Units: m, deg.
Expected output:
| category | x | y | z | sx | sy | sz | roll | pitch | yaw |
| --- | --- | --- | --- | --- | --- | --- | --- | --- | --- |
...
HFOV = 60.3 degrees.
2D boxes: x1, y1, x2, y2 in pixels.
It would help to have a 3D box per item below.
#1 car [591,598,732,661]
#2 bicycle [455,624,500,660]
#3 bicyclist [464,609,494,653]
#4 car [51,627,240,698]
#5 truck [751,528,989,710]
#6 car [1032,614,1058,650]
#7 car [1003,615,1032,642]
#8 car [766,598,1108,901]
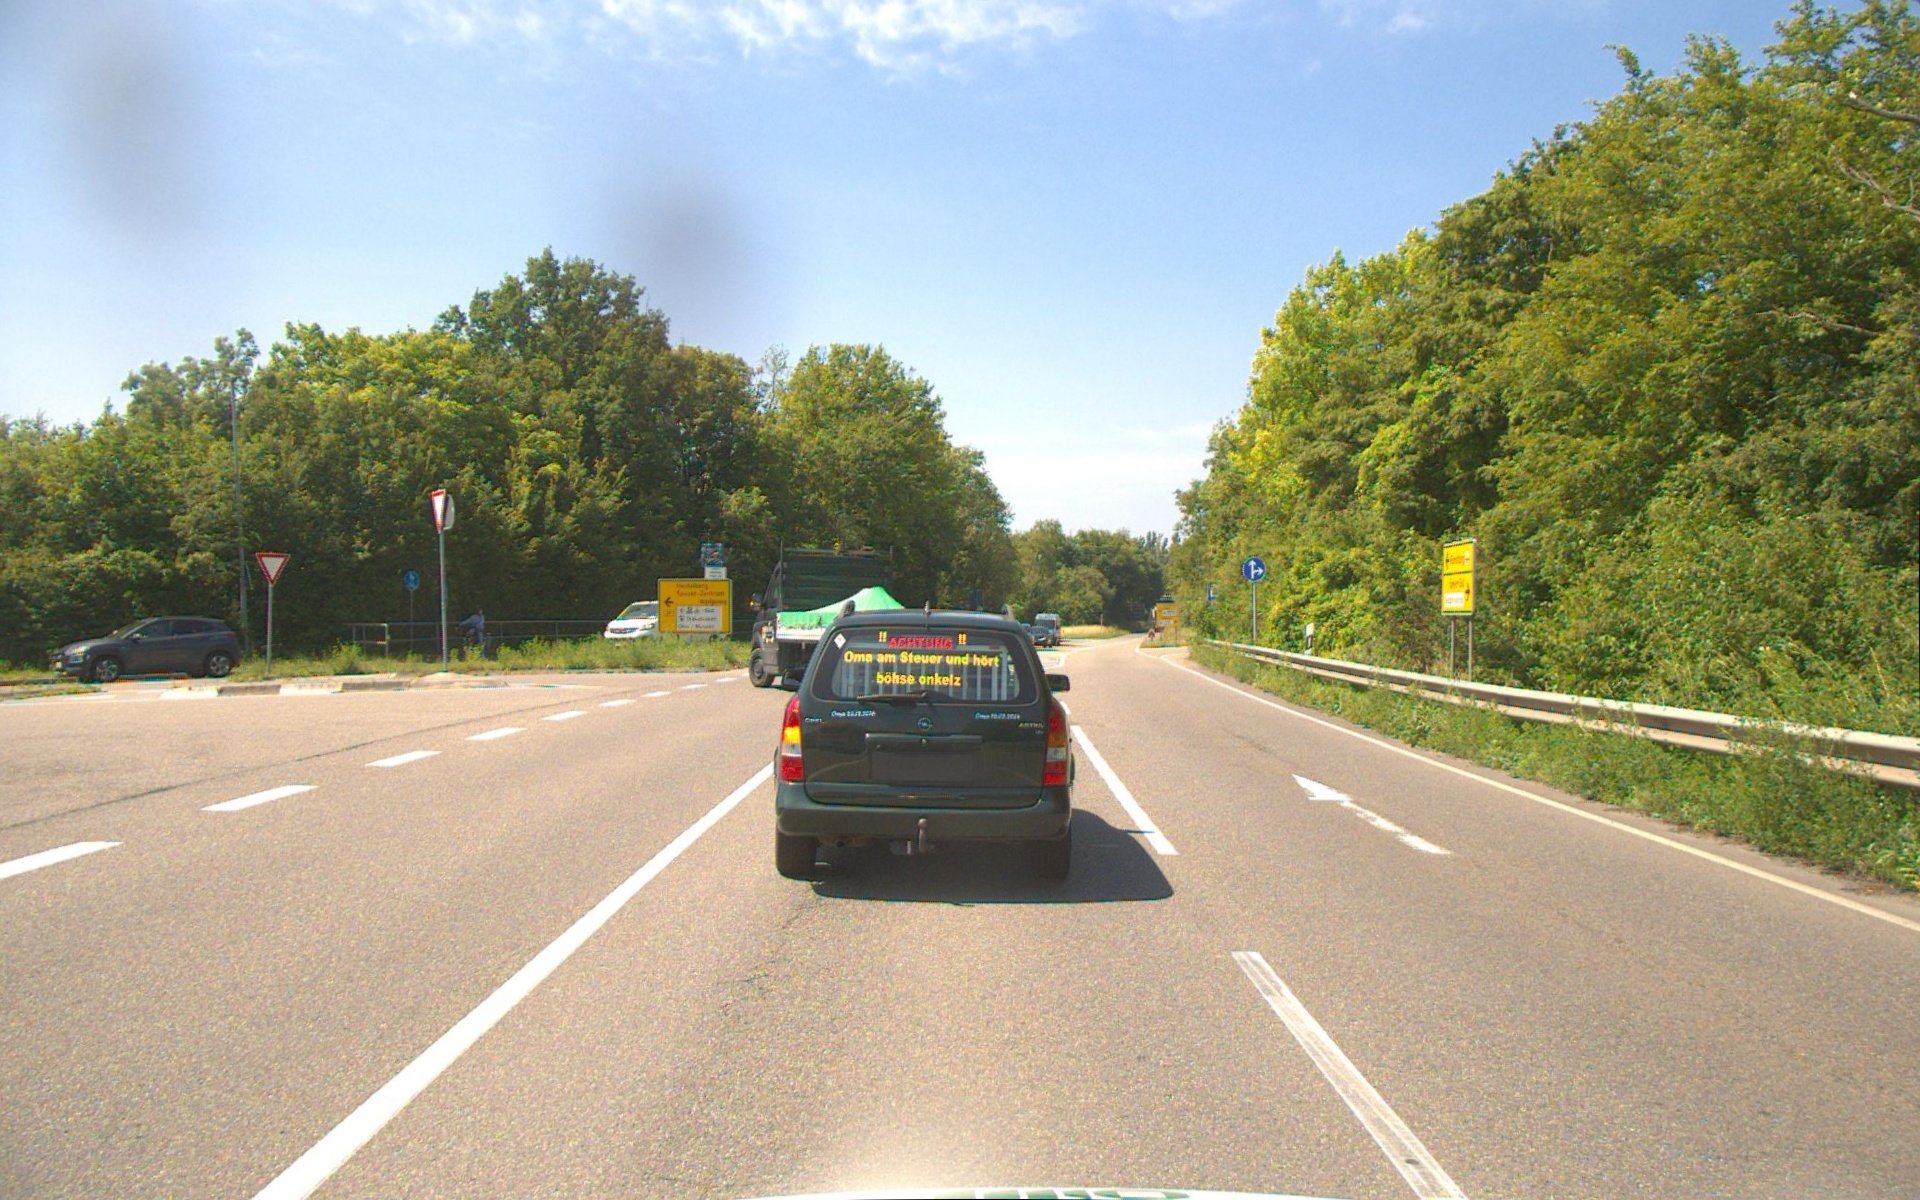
| category | x | y | z | sx | sy | sz | roll | pitch | yaw |
| --- | --- | --- | --- | --- | --- | --- | --- | --- | --- |
| car | -9.825 | 0.947 | 54.922 | 1.970 | 1.957 | 5.190 | 1 | 0 | 25 |
| bicycle | -15.486 | 1.353 | 53.120 | 0.427 | 1.133 | 1.477 | -1 | -1 | 33 |
| bicyclist | -15.463 | 0.996 | 53.172 | 0.675 | 1.387 | 0.607 | 0 | 0 | 34 |
| car | -20.064 | 1.512 | 40.798 | 3.892 | 1.624 | 1.745 | 1 | 0 | -40 |
| truck | -1.677 | 0.278 | 27.117 | 2.107 | 2.610 | 6.601 | 1 | 0 | -20 |
| car | 7.052 | 2.609 | 136.832 | 2.061 | 2.900 | 6.014 | 1 | -1 | 4 |
| car | 3.297 | 1.604 | 94.035 | 1.610 | 1.443 | 3.767 | 1 | -1 | 3 |
| car | -0.106 | 0.745 | 10.147 | 1.685 | 1.482 | 3.797 | 1 | 0 | 0 |
